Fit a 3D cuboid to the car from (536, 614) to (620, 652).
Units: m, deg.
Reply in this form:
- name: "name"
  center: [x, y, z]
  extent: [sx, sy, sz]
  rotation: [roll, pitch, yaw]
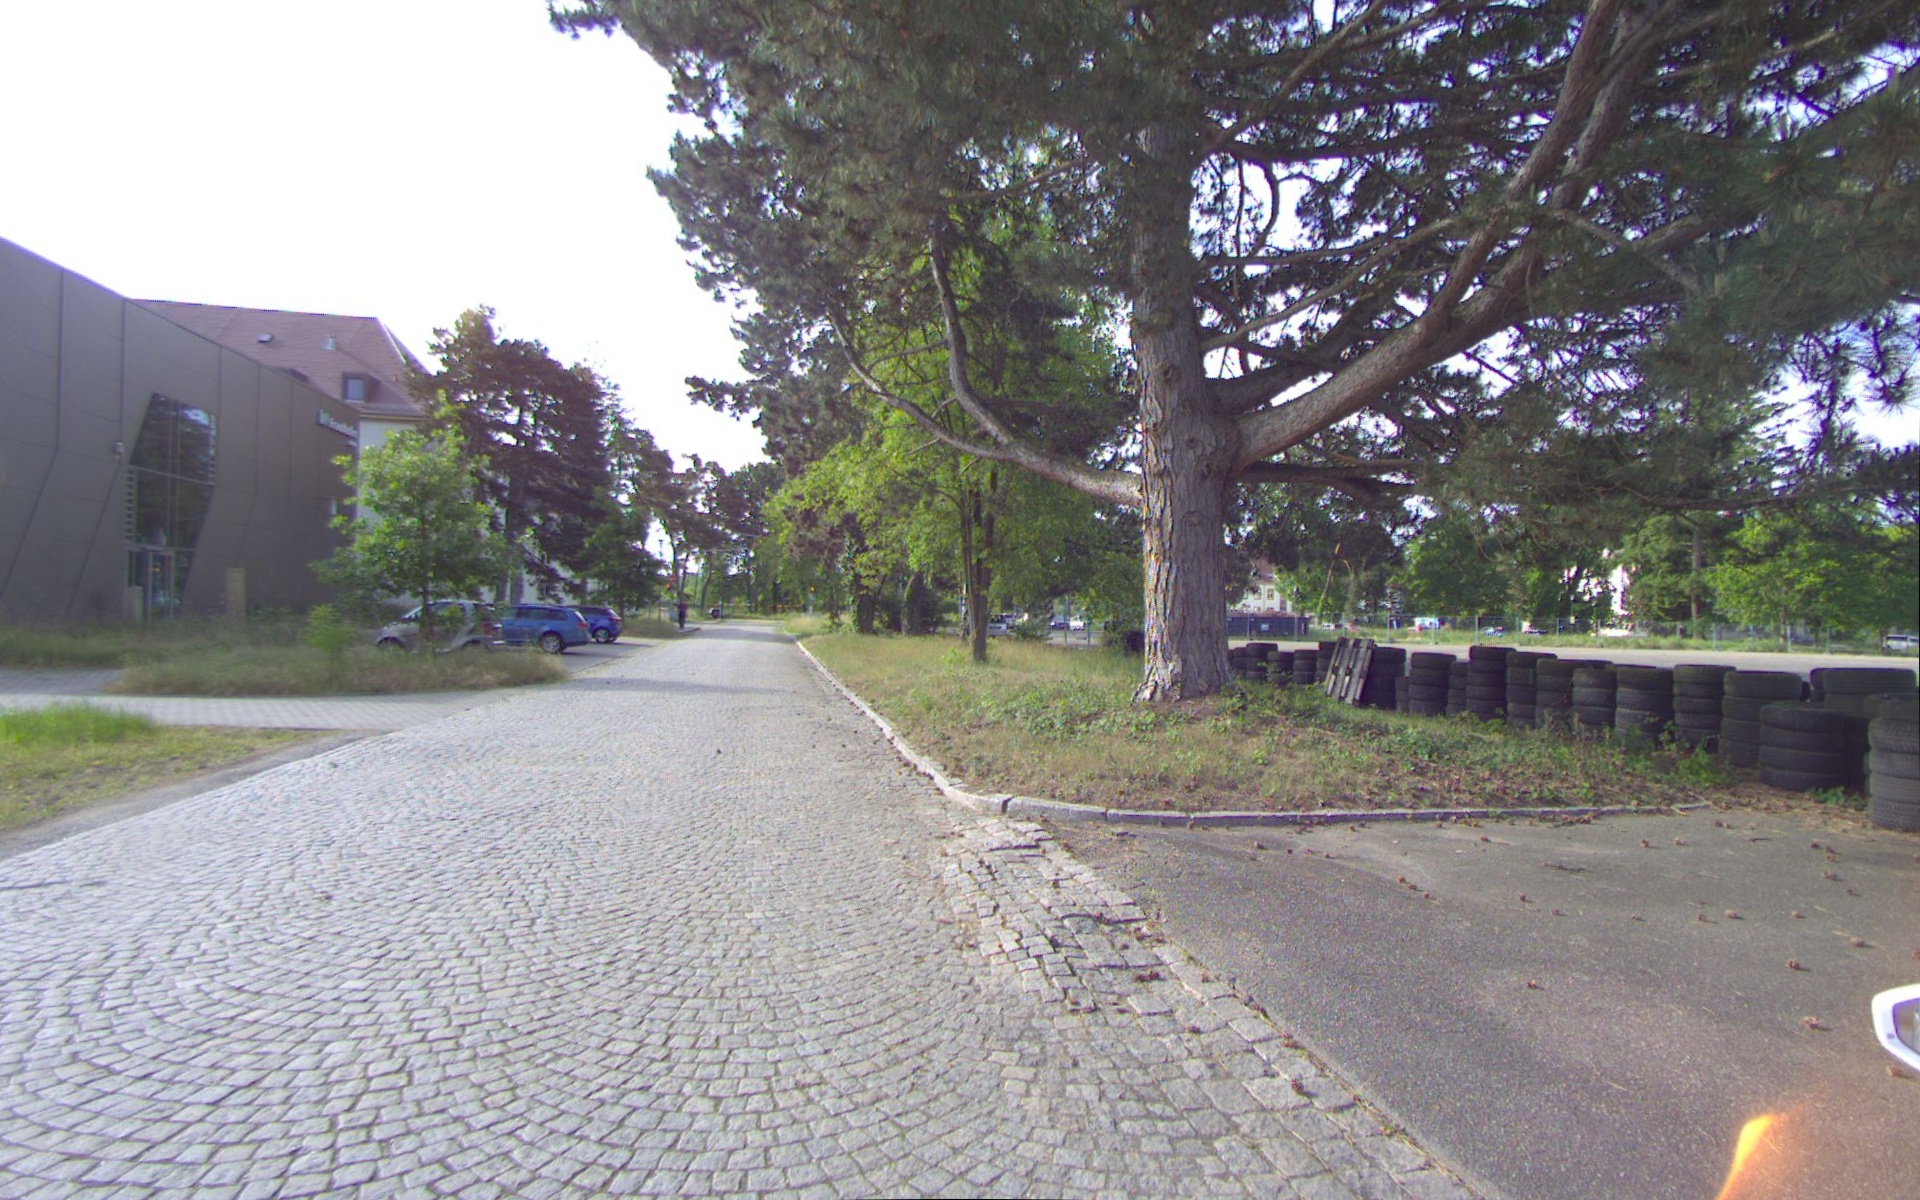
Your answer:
- name: "car"
  center: [-15.370, 1.324, 40.500]
  extent: [3.044, 1.469, 1.486]
  rotation: [1, -1, -18]

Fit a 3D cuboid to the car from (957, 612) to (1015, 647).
- name: "car"
  center: [1.220, 1.413, 49.145]
  extent: [1.860, 1.561, 3.990]
  rotation: [1, -1, -13]

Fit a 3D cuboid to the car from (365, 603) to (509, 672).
- name: "car"
  center: [-12.511, 0.888, 24.161]
  extent: [2.718, 1.570, 1.423]
  rotation: [1, -1, -8]

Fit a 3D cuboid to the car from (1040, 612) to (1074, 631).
- name: "car"
  center: [8.592, 1.874, 89.356]
  extent: [1.965, 1.639, 3.992]
  rotation: [1, -1, -11]

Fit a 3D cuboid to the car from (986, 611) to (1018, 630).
- name: "car"
  center: [3.646, 1.759, 87.790]
  extent: [1.965, 1.639, 3.992]
  rotation: [1, -1, -11]

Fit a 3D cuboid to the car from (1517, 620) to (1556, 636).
- name: "car"
  center: [64.137, 3.112, 111.869]
  extent: [1.961, 1.773, 3.999]
  rotation: [1, -1, -1]

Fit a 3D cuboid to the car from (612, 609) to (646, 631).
- name: "car"
  center: [-25.779, 1.541, 78.340]
  extent: [1.965, 1.639, 3.992]
  rotation: [1, -1, -11]

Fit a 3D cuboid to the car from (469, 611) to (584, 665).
- name: "car"
  center: [-13.474, 1.180, 31.368]
  extent: [3.044, 1.476, 1.487]
  rotation: [3, -1, -16]

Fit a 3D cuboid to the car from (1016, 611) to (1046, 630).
- name: "car"
  center: [6.201, 1.810, 88.575]
  extent: [1.794, 1.639, 3.994]
  rotation: [1, -1, -9]

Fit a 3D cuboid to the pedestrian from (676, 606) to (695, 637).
- name: "pedestrian"
  center: [-16.642, 1.314, 60.863]
  extent: [0.946, 1.868, 0.950]
  rotation: [1, 0, -25]
